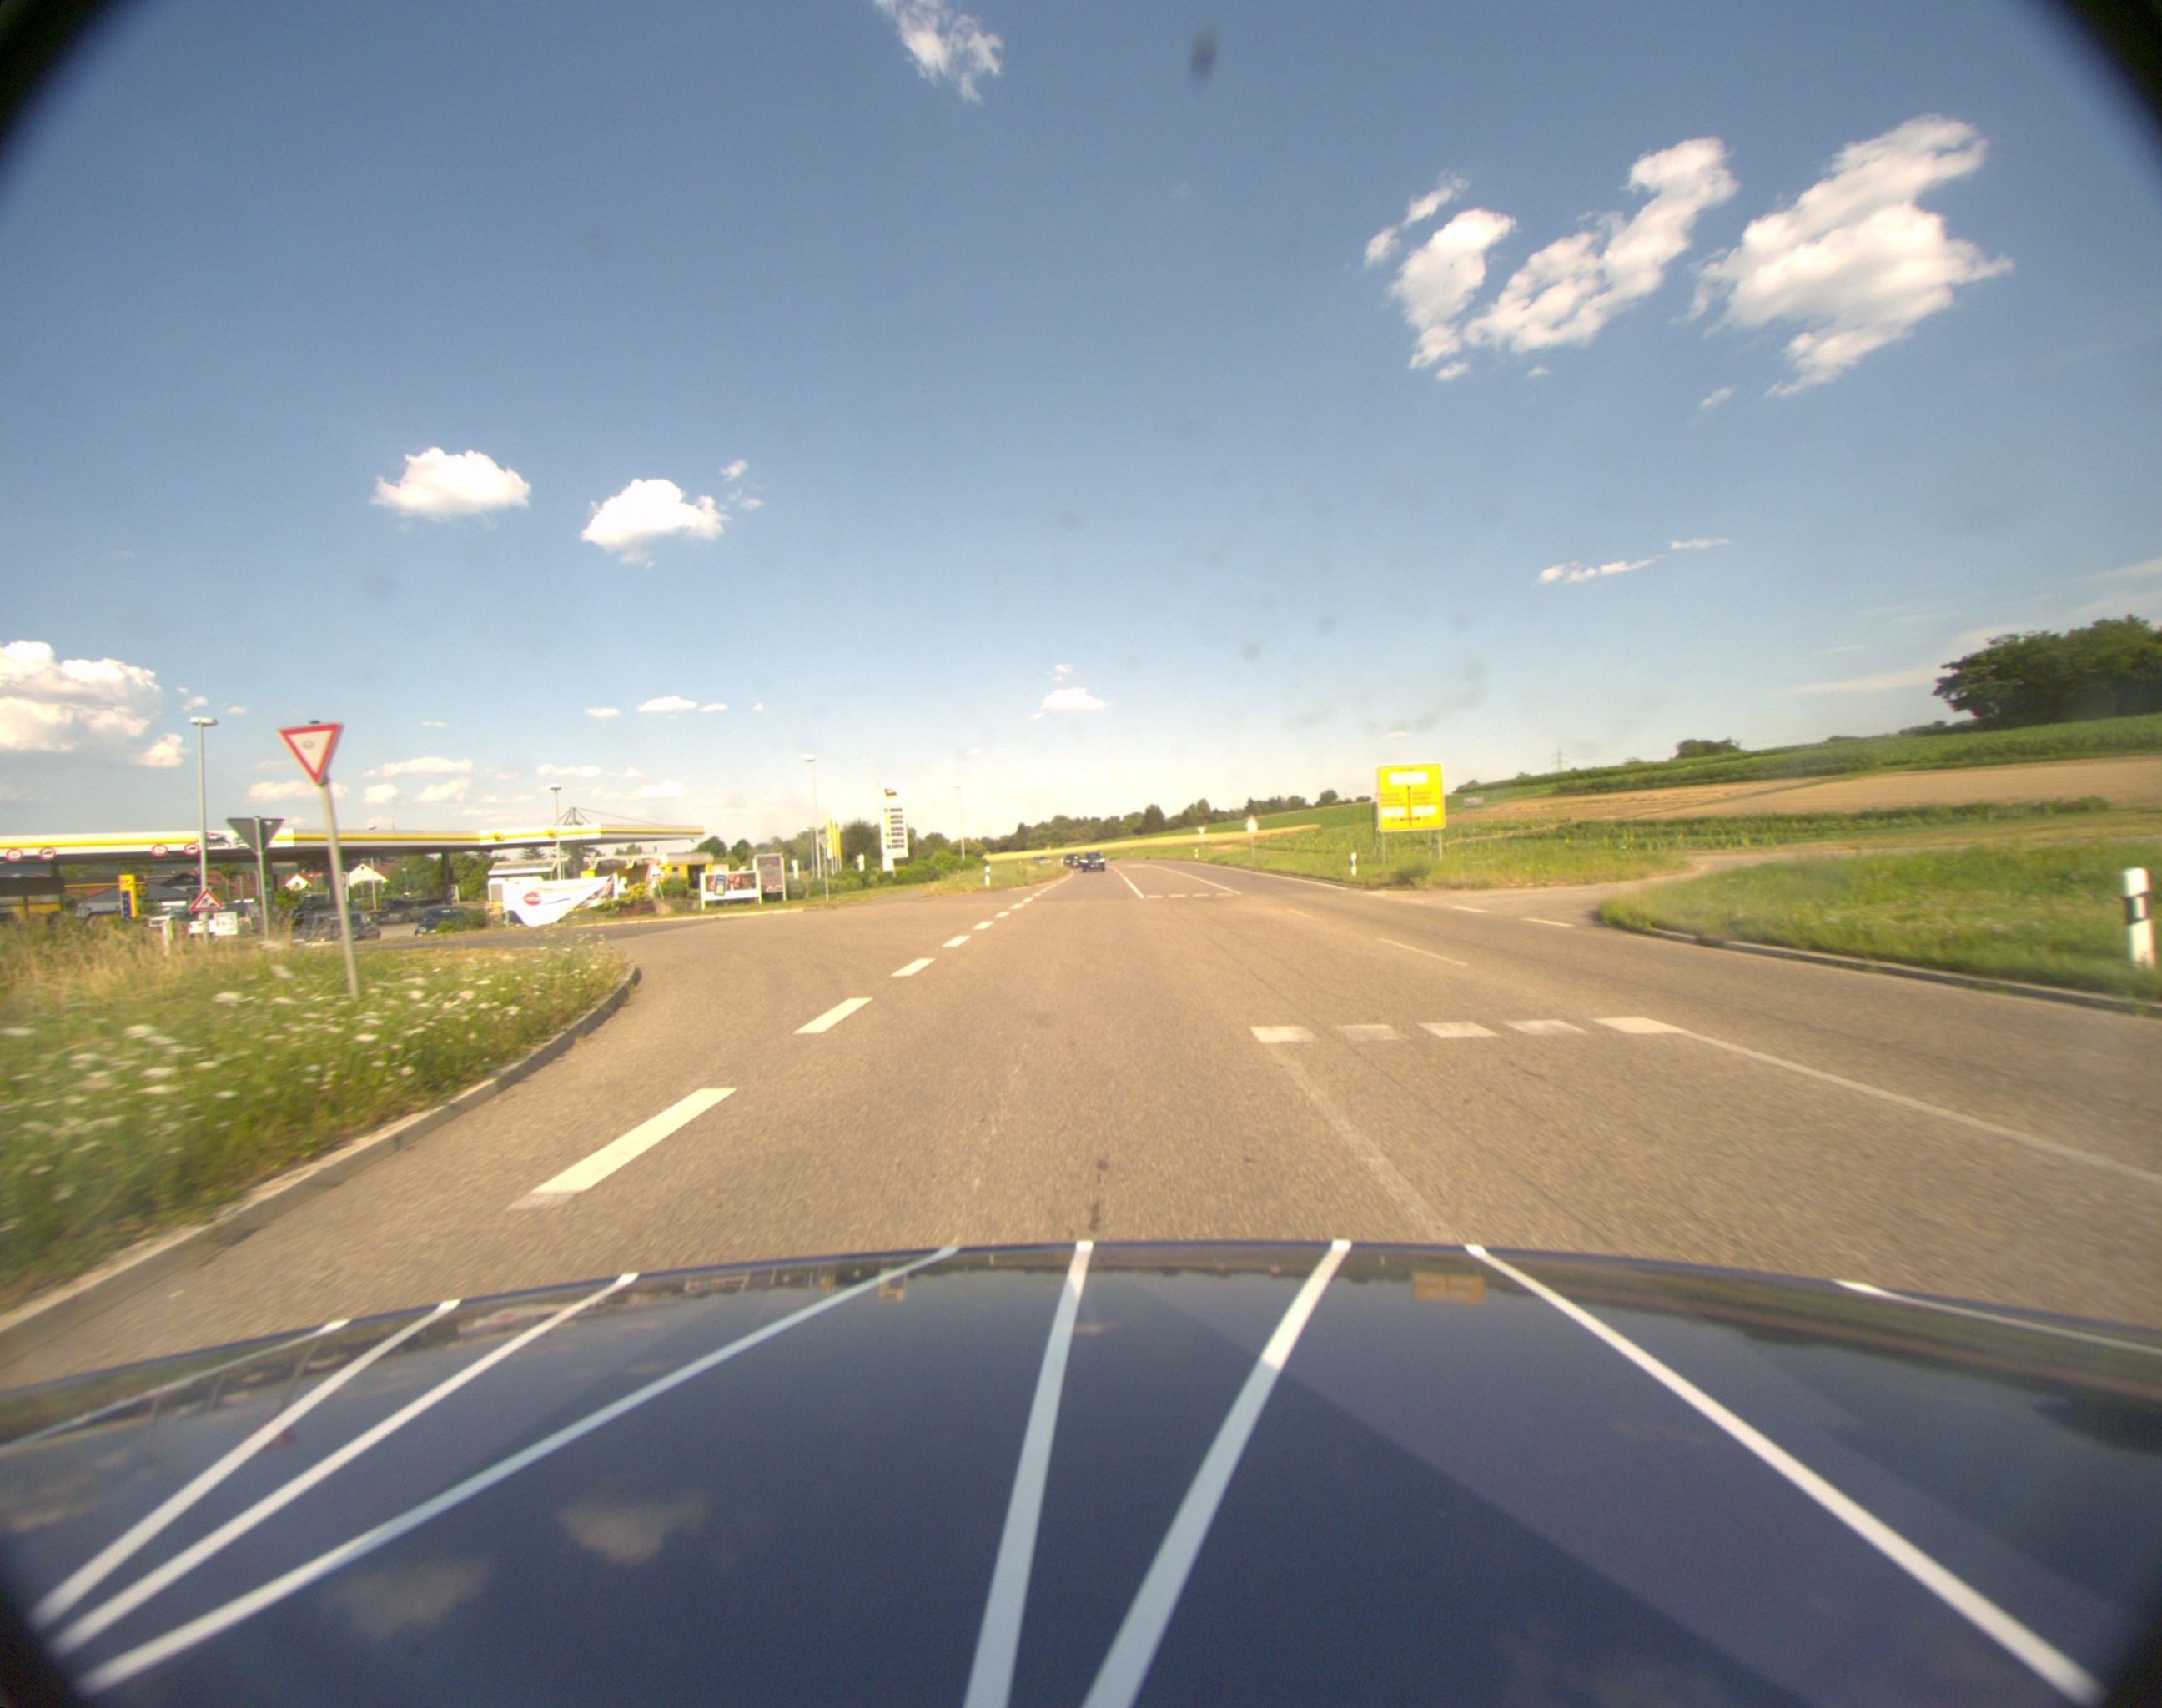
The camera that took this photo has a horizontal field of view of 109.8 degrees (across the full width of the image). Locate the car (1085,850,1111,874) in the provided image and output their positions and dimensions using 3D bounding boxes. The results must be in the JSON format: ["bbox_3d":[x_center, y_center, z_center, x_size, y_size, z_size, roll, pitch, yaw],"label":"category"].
[{"bbox_3d":[1.325,0.612,60.959,1.788,1.620,4.467,-5,1,0],"label":"car"}]

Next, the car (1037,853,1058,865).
[{"bbox_3d":[-4.721,0.727,107.181,1.525,1.498,2.745,-6,2,-34],"label":"car"}]

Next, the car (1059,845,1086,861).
[{"bbox_3d":[-0.946,-0.125,84.012,1.777,1.604,4.541,-6,1,-15],"label":"car"}]

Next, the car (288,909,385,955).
[{"bbox_3d":[-25.837,2.648,26.501,1.603,1.195,3.907,-5,1,-33],"label":"car"}]

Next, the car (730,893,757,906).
[{"bbox_3d":[-13.740,1.869,30.922,1.080,0.447,0.608,-4,1,44],"label":"car"}]

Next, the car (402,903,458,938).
[{"bbox_3d":[-23.792,2.397,27.826,1.276,1.020,2.497,-7,2,-36],"label":"car"}]
